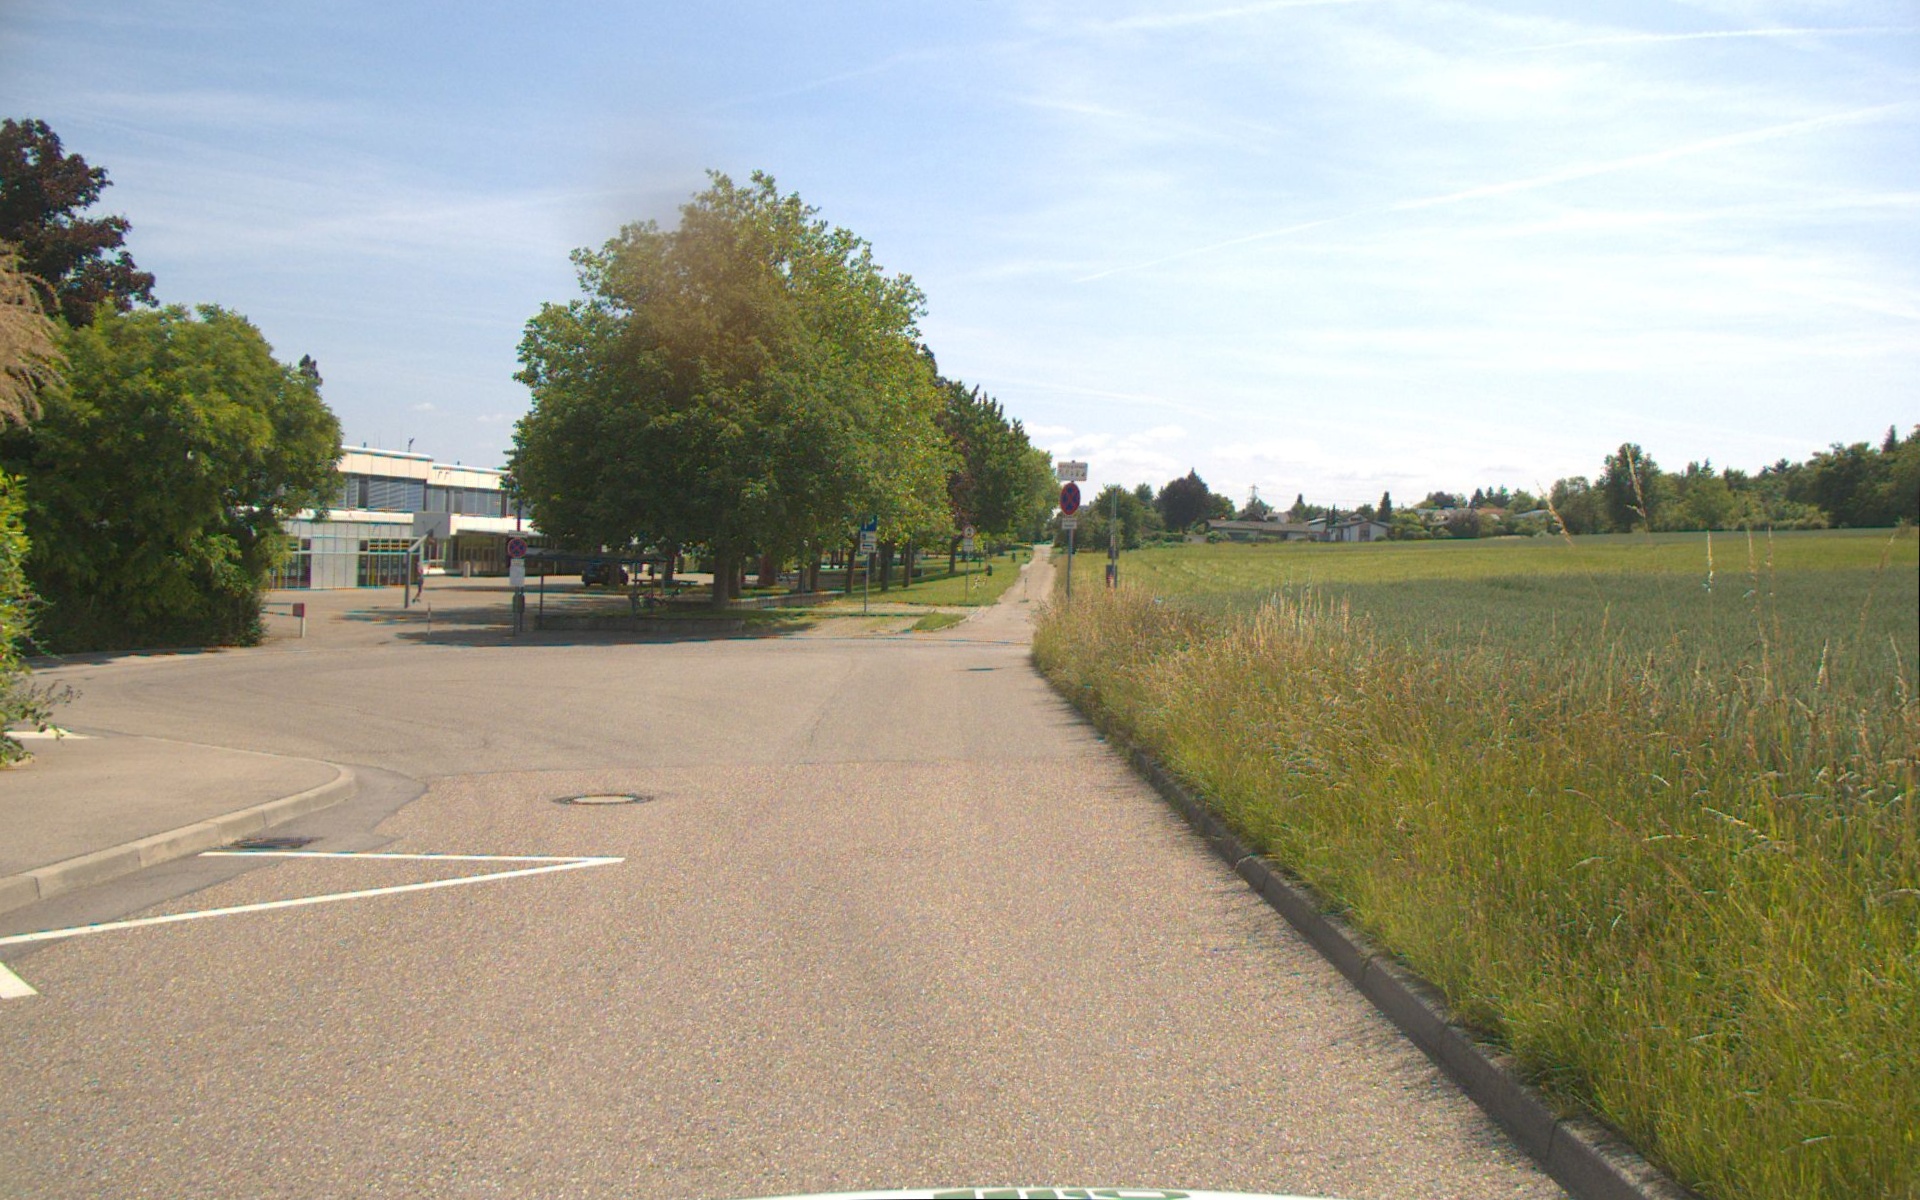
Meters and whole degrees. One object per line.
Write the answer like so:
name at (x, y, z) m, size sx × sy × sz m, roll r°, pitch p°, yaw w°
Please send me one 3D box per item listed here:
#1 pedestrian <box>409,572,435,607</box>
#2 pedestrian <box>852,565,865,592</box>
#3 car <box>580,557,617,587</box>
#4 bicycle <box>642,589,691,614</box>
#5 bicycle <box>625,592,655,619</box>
pedestrian at (-23.219, -0.459, 71.385) m, size 1.049 × 1.448 × 0.915 m, roll 1°, pitch 1°, yaw -17°
pedestrian at (-7.773, -1.620, 126.831) m, size 0.675 × 2.049 × 0.795 m, roll 1°, pitch 1°, yaw -30°
car at (-23.520, -1.830, 107.617) m, size 1.656 × 1.866 × 3.411 m, roll 1°, pitch 1°, yaw 0°
bicycle at (-12.493, 0.054, 70.460) m, size 2.022 × 1.057 × 0.571 m, roll 0°, pitch 1°, yaw -6°
bicycle at (-13.231, 0.212, 68.517) m, size 0.582 × 1.057 × 1.895 m, roll 0°, pitch 1°, yaw 10°
